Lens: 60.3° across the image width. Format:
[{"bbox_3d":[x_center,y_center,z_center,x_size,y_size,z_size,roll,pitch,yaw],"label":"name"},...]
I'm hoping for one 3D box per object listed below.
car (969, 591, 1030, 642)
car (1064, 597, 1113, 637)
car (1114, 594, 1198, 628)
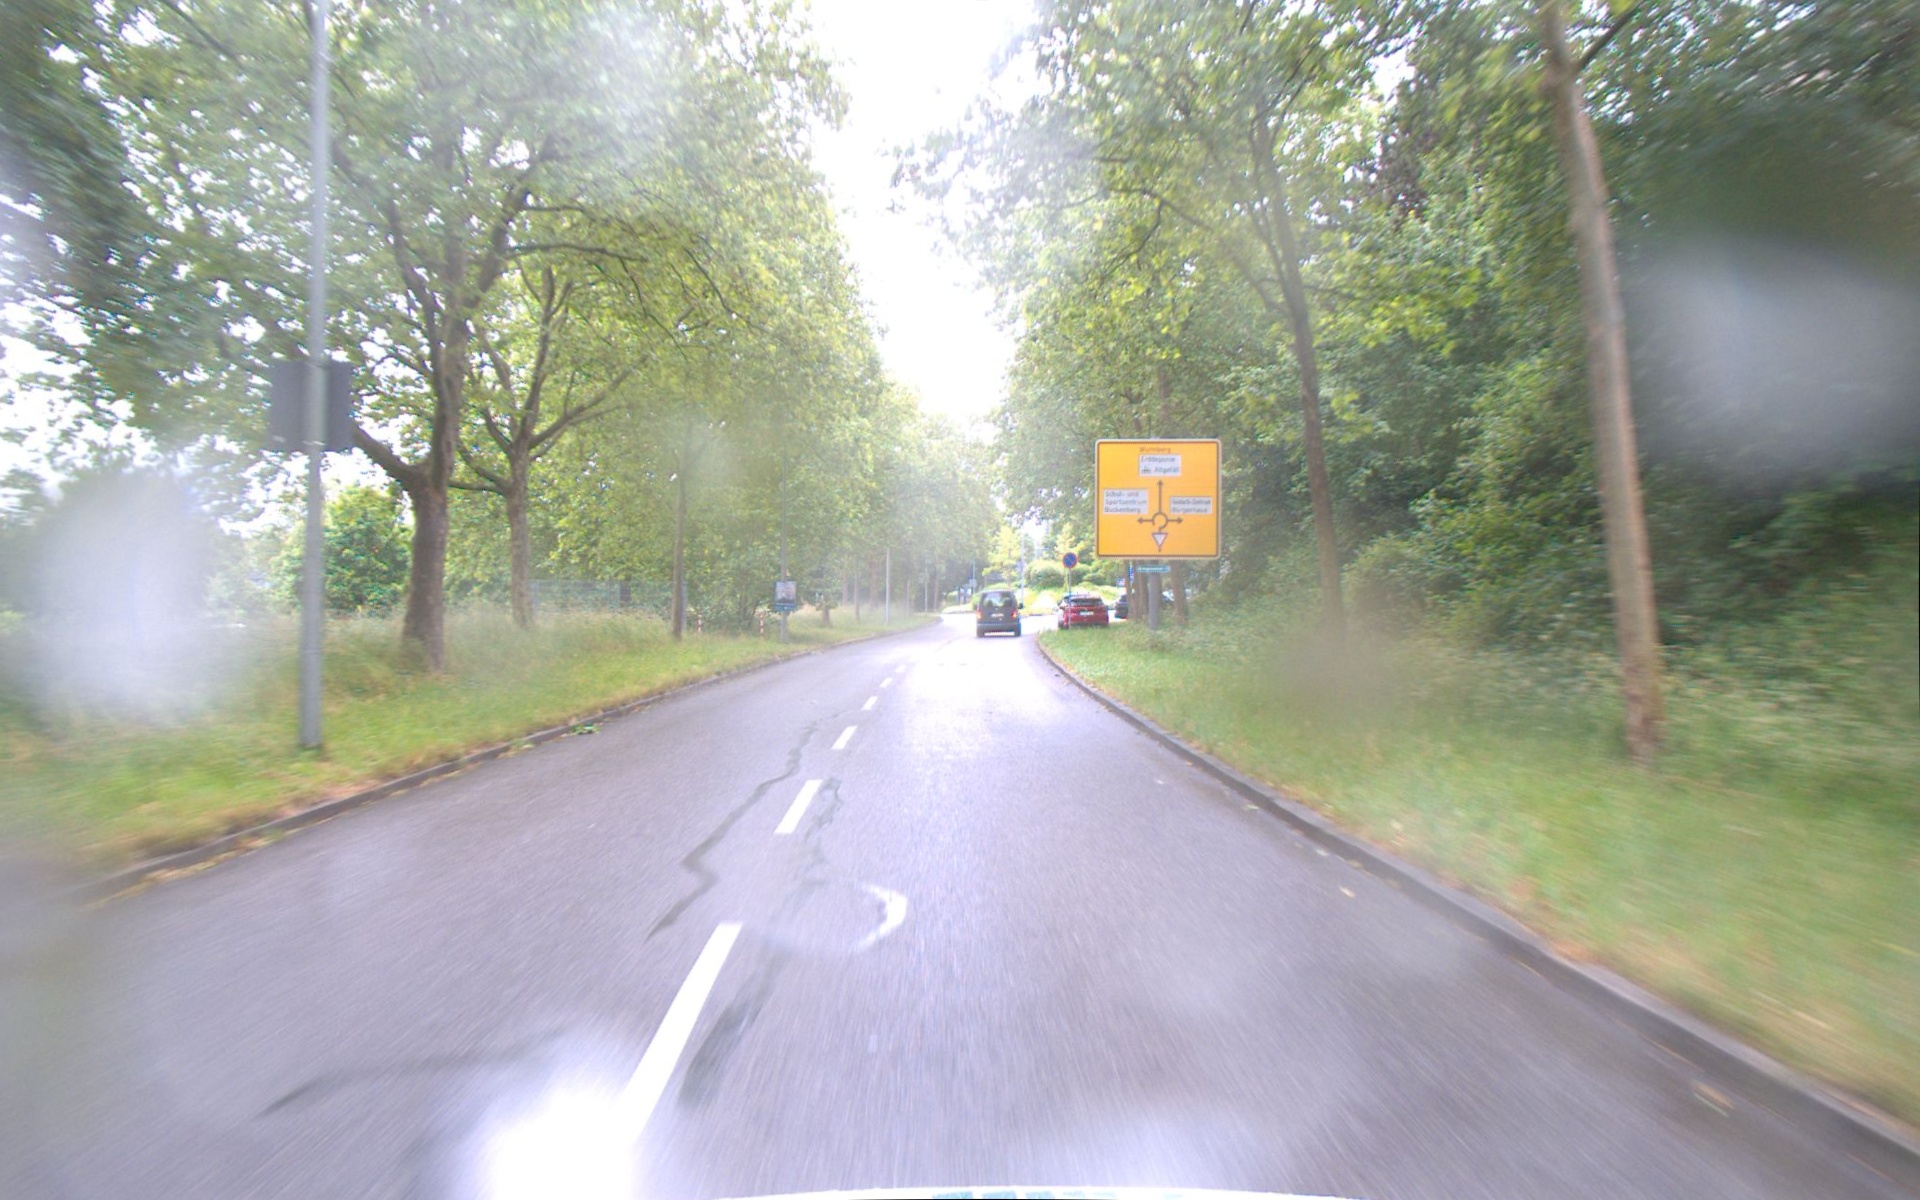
[{"bbox_3d":[1.637,0.648,66.821,1.878,1.832,3.793,-4,0,8],"label":"car"},{"bbox_3d":[4.801,0.645,62.141,1.759,1.396,3.745,-2,-1,3],"label":"car"},{"bbox_3d":[10.417,0.584,88.192,4.376,1.709,1.769,0,1,5],"label":"car"}]
